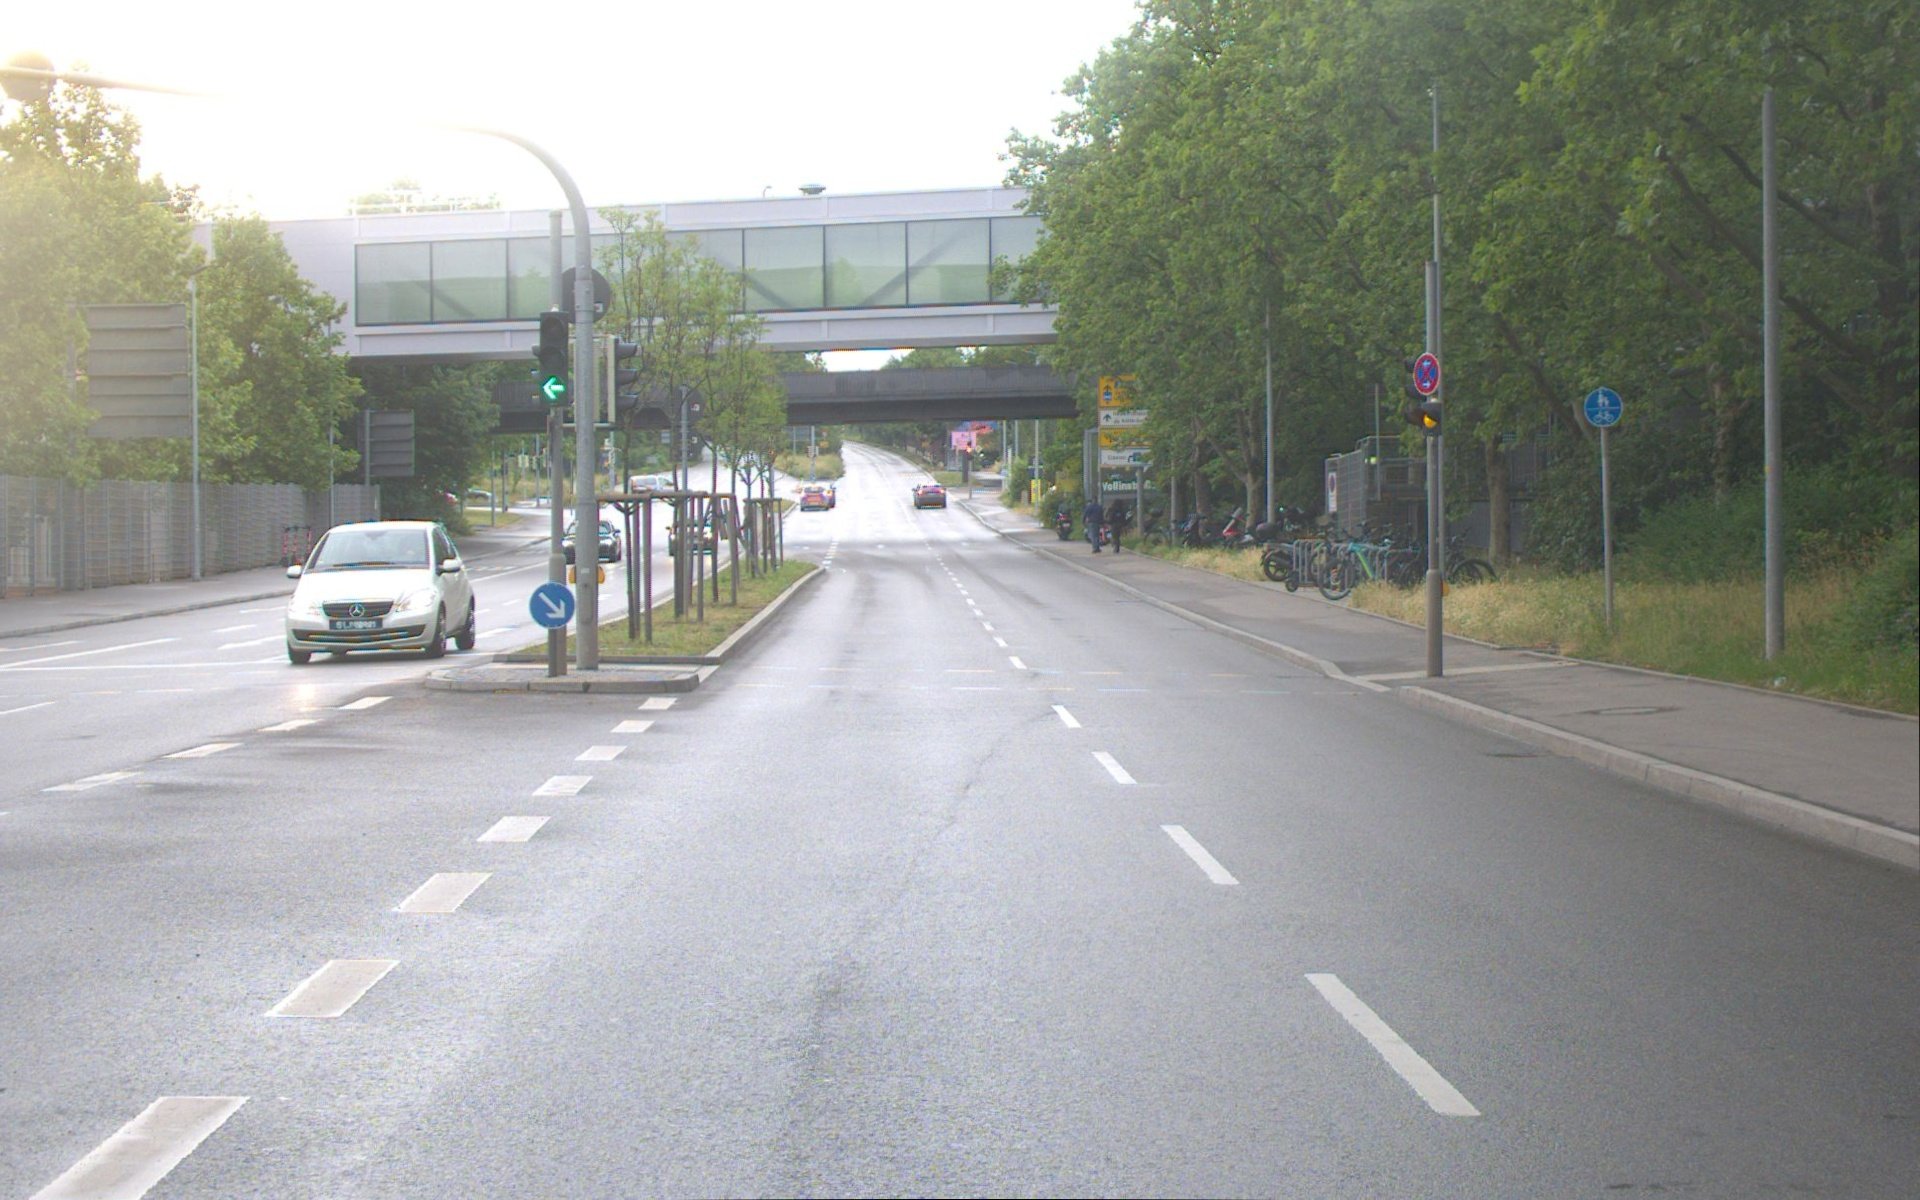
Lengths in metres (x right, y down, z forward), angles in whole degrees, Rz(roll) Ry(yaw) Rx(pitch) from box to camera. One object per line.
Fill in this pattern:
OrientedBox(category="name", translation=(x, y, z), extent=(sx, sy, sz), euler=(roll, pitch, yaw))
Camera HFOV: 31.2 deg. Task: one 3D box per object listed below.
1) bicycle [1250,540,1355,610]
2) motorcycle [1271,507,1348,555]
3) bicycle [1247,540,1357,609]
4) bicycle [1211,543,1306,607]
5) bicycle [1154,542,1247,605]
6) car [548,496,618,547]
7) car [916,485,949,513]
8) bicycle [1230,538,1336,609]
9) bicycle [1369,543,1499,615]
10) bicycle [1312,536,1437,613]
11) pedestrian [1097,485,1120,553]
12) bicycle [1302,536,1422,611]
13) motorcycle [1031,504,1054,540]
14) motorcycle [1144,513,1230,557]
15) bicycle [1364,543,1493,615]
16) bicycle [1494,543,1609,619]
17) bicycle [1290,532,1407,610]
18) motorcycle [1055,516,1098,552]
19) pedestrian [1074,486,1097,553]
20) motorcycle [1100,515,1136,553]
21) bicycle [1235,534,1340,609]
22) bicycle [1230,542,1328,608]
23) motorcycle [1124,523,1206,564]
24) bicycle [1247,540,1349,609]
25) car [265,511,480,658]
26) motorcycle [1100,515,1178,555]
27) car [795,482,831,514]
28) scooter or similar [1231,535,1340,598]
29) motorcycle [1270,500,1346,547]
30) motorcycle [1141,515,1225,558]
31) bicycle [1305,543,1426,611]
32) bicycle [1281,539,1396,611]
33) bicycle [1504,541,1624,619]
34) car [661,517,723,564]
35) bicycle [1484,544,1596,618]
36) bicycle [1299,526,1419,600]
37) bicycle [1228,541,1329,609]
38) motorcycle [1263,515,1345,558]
OrientedBox(category="bicycle", translation=(6.822, -0.501, 68.496), extent=(1.990, 1.324, 0.576), euler=(2, 0, 0))
OrientedBox(category="motorcycle", translation=(11.053, -2.176, 108.698), extent=(2.369, 1.471, 0.722), euler=(-1, 1, 7))
OrientedBox(category="bicycle", translation=(6.449, -0.475, 64.840), extent=(1.990, 1.237, 0.541), euler=(2, 0, 0))
OrientedBox(category="bicycle", translation=(6.448, -0.537, 74.326), extent=(1.963, 1.324, 0.654), euler=(2, 0, 0))
OrientedBox(category="bicycle", translation=(5.316, -0.580, 76.053), extent=(1.963, 1.324, 0.654), euler=(2, 0, 0))
OrientedBox(category="car", translation=(-12.438, -2.594, 113.605), extent=(1.877, 1.619, 3.779), euler=(-1, 1, 0))
OrientedBox(category="car", translation=(-1.630, -6.018, 204.577), extent=(1.875, 1.492, 4.068), euler=(2, 0, 0))
OrientedBox(category="bicycle", translation=(6.338, -0.516, 67.554), extent=(1.990, 1.324, 0.576), euler=(2, 0, 0))
OrientedBox(category="bicycle", translation=(7.643, -0.342, 55.529), extent=(1.990, 1.091, 0.541), euler=(2, 0, 0))
OrientedBox(category="bicycle", translation=(6.942, -0.431, 57.557), extent=(1.990, 1.212, 0.541), euler=(2, 0, 0))
OrientedBox(category="pedestrian", translation=(4.483, -2.445, 103.840), extent=(0.622, 2.007, 0.605), euler=(-1, 1, 0))
OrientedBox(category="bicycle", translation=(6.986, -0.464, 59.746), extent=(1.990, 1.229, 0.541), euler=(2, 0, 0))
OrientedBox(category="motorcycle", translation=(3.497, -3.315, 146.308), extent=(0.790, 1.528, 2.377), euler=(-1, 1, -2))
OrientedBox(category="motorcycle", translation=(6.389, -1.834, 96.731), extent=(2.369, 1.198, 0.722), euler=(-1, 1, 7))
OrientedBox(category="bicycle", translation=(7.638, -0.344, 56.097), extent=(1.990, 1.091, 0.541), euler=(2, 0, 0))
OrientedBox(category="bicycle", translation=(10.951, -0.350, 63.706), extent=(1.990, 1.324, 0.576), euler=(2, 0, 0))
OrientedBox(category="bicycle", translation=(6.980, -0.517, 61.824), extent=(1.990, 1.336, 0.541), euler=(2, 0, 0))
OrientedBox(category="motorcycle", translation=(4.302, -2.444, 127.200), extent=(0.790, 1.307, 2.377), euler=(-1, 1, -18))
OrientedBox(category="pedestrian", translation=(3.799, -2.450, 104.139), extent=(0.622, 2.007, 0.605), euler=(-1, 1, 0))
OrientedBox(category="motorcycle", translation=(5.605, -2.333, 122.103), extent=(0.790, 1.307, 2.377), euler=(-1, 1, -9))
OrientedBox(category="bicycle", translation=(6.593, -0.573, 69.231), extent=(1.990, 1.425, 0.723), euler=(2, 0, 0))
OrientedBox(category="bicycle", translation=(6.677, -0.525, 72.034), extent=(1.960, 1.324, 0.576), euler=(2, 0, 0))
OrientedBox(category="motorcycle", translation=(6.155, -1.696, 103.208), extent=(2.369, 1.198, 0.722), euler=(-1, 1, 7))
OrientedBox(category="bicycle", translation=(6.885, -0.514, 70.085), extent=(1.990, 1.324, 0.576), euler=(2, 0, 0))
OrientedBox(category="car", translation=(-6.847, -0.208, 40.398), extent=(1.877, 1.619, 3.779), euler=(-1, 1, 0))
OrientedBox(category="motorcycle", translation=(5.623, -2.042, 107.762), extent=(2.369, 1.198, 0.722), euler=(-1, 1, 7))
OrientedBox(category="car", translation=(-8.881, -6.192, 208.318), extent=(1.993, 1.756, 4.000), euler=(2, 0, 0))
OrientedBox(category="scooter or similar", translation=(6.206, -0.635, 65.618), extent=(1.990, 1.134, 0.541), euler=(2, 0, 0))
OrientedBox(category="motorcycle", translation=(11.142, -2.448, 109.928), extent=(2.369, 1.471, 0.722), euler=(-1, 1, 7))
OrientedBox(category="motorcycle", translation=(6.417, -1.822, 98.846), extent=(2.369, 1.198, 0.722), euler=(-1, 1, 7))
OrientedBox(category="bicycle", translation=(6.974, -0.397, 59.165), extent=(1.990, 1.091, 0.541), euler=(2, 0, 0))
OrientedBox(category="bicycle", translation=(6.875, -0.456, 62.516), extent=(1.990, 1.237, 0.541), euler=(2, 0, 0))
OrientedBox(category="bicycle", translation=(10.801, -0.351, 61.517), extent=(1.990, 1.324, 0.576), euler=(2, 0, 0))
OrientedBox(category="car", translation=(-9.452, -2.100, 121.480), extent=(1.877, 1.619, 3.779), euler=(-1, 1, 0))
OrientedBox(category="bicycle", translation=(10.952, -0.352, 64.953), extent=(1.990, 1.324, 0.576), euler=(2, 0, 0))
OrientedBox(category="bicycle", translation=(7.009, -0.650, 60.427), extent=(1.990, 1.237, 0.541), euler=(2, 0, 0))
OrientedBox(category="bicycle", translation=(6.549, -0.515, 70.796), extent=(1.990, 1.324, 0.576), euler=(2, 0, 0))
OrientedBox(category="motorcycle", translation=(10.200, -1.884, 101.892), extent=(2.369, 1.198, 0.722), euler=(-1, 1, 7))
